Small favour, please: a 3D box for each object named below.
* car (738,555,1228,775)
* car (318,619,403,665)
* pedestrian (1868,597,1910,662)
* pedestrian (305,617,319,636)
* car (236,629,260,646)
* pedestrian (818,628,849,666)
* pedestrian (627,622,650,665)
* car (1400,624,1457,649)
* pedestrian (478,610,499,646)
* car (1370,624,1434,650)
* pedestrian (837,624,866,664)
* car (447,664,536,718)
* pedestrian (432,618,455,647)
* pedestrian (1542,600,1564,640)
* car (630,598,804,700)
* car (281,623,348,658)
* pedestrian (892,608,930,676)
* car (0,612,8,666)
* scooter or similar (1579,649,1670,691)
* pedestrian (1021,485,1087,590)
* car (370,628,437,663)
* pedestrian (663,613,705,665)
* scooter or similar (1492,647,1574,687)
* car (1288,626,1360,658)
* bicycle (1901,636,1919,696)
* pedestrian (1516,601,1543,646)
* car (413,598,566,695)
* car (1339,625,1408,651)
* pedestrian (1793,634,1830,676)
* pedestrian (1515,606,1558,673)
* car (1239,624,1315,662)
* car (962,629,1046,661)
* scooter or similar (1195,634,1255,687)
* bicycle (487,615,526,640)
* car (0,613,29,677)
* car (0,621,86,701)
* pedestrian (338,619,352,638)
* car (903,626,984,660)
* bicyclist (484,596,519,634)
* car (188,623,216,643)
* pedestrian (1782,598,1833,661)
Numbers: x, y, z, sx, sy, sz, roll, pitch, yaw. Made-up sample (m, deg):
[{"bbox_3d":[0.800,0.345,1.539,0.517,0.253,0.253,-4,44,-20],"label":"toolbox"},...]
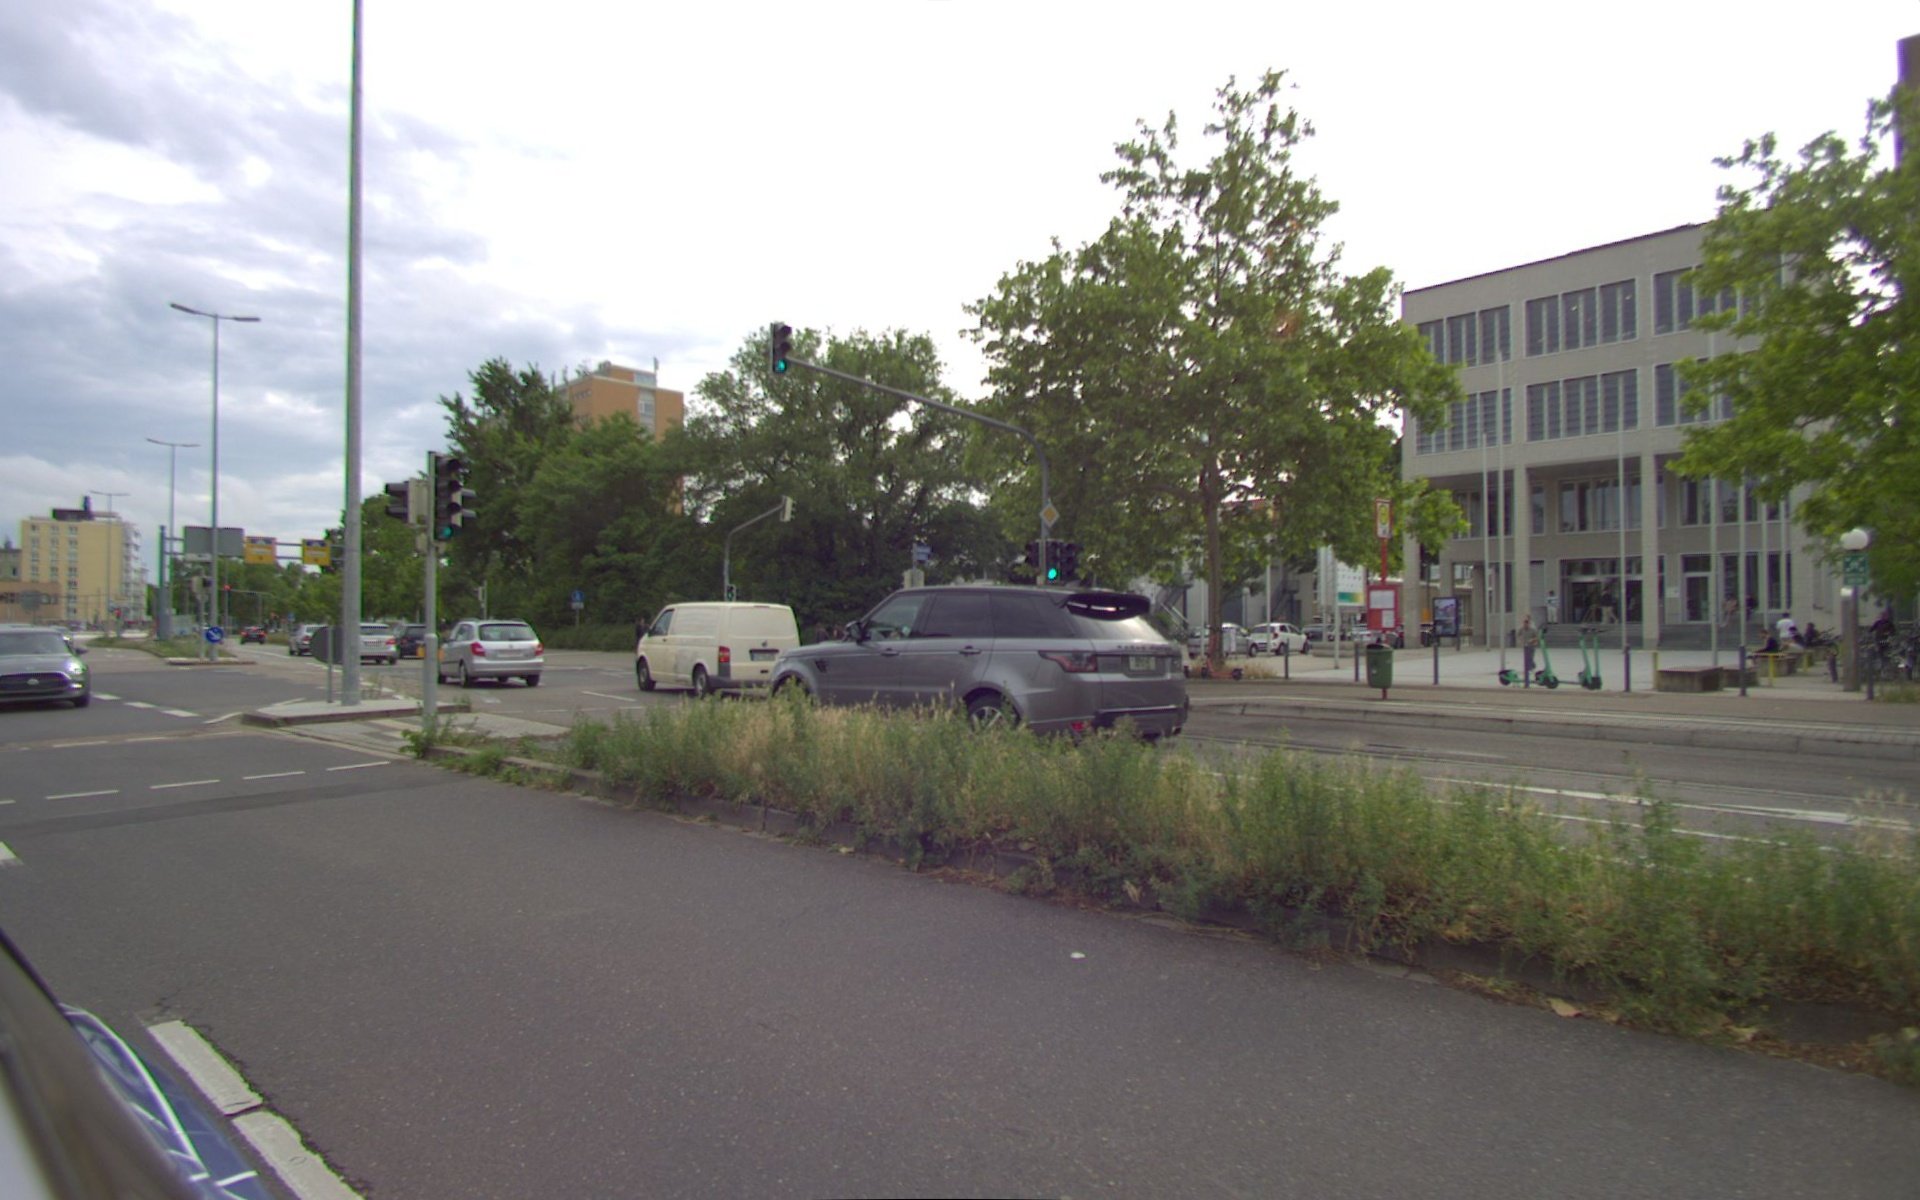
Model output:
[{"bbox_3d":[-0.016,0.556,10.273,4.949,1.700,1.971,-2,-1,45],"label":"car"},{"bbox_3d":[-22.471,1.566,37.860,1.933,1.596,4.261,-1,-2,-42],"label":"car"},{"bbox_3d":[29.444,0.935,32.082,0.883,2.029,0.797,2,-2,-37],"label":"pedestrian"},{"bbox_3d":[-69.890,2.895,109.148,1.221,2.029,0.870,-2,-1,42],"label":"pedestrian"},{"bbox_3d":[-68.971,3.581,98.081,1.825,1.564,4.010,0,-1,-34],"label":"car"},{"bbox_3d":[-4.885,1.805,39.122,0.992,1.439,0.696,-2,-1,18],"label":"pedestrian"},{"bbox_3d":[-13.167,1.788,41.433,0.582,1.708,0.653,7,-6,-41],"label":"pedestrian"},{"bbox_3d":[28.183,2.193,60.866,3.628,1.467,1.960,2,-2,-44],"label":"car"},{"bbox_3d":[-28.519,1.686,61.181,0.895,2.029,0.824,-4,-3,-36],"label":"pedestrian"},{"bbox_3d":[25.091,2.091,57.428,3.843,1.407,1.997,2,-3,-44],"label":"car"},{"bbox_3d":[-4.251,1.727,39.658,0.811,1.525,0.978,1,-2,-31],"label":"pedestrian"},{"bbox_3d":[-16.439,3.129,35.401,1.968,1.632,4.008,1,-2,-38],"label":"car"},{"bbox_3d":[-29.982,1.856,58.764,0.976,1.637,0.814,-1,-1,-43],"label":"pedestrian"},{"bbox_3d":[30.641,1.048,52.324,0.944,2.029,0.787,-1,-2,29],"label":"pedestrian"},{"bbox_3d":[-5.150,0.948,21.004,1.749,1.862,4.497,-1,-1,-39],"label":"car"},{"bbox_3d":[-30.042,1.856,47.067,1.969,1.541,4.279,2,-2,-41],"label":"car"},{"bbox_3d":[-1.540,1.318,31.768,0.851,2.074,0.660,-5,-3,35],"label":"pedestrian"},{"bbox_3d":[-27.195,1.070,27.481,1.706,1.470,4.006,2,-2,-40],"label":"car"},{"bbox_3d":[11.891,1.244,18.138,0.402,0.699,1.291,-1,-1,-41],"label":"scooter or similar"},{"bbox_3d":[1.932,-1.250,20.814,1.010,2.029,0.884,-2,-3,44],"label":"pedestrian"},{"bbox_3d":[-24.776,1.997,45.032,1.829,1.475,3.702,2,-2,-41],"label":"car"},{"bbox_3d":[-11.232,1.577,41.223,1.136,2.029,1.174,-2,-1,26],"label":"pedestrian"},{"bbox_3d":[11.028,1.276,19.497,0.402,0.699,1.291,-1,-1,-41],"label":"scooter or similar"},{"bbox_3d":[18.331,2.107,50.887,3.940,1.565,1.890,2,-3,-44],"label":"car"},{"bbox_3d":[22.728,1.529,23.833,0.721,1.364,2.458,-2,-3,41],"label":"bicycle"},{"bbox_3d":[26.169,1.085,46.550,1.034,2.029,0.787,-1,-2,29],"label":"pedestrian"},{"bbox_3d":[-10.898,1.034,23.328,1.970,2.029,4.003,2,-3,-44],"label":"car"},{"bbox_3d":[22.150,2.025,54.170,3.940,1.371,2.009,2,-3,-44],"label":"car"},{"bbox_3d":[29.920,1.928,35.565,0.883,1.429,0.797,2,-2,-37],"label":"pedestrian"},{"bbox_3d":[17.765,1.219,31.194,1.092,2.029,0.787,-1,-2,29],"label":"pedestrian"},{"bbox_3d":[14.913,2.003,47.532,1.854,1.696,3.942,-2,-3,44],"label":"car"},{"bbox_3d":[2.196,2.202,50.318,3.940,1.401,2.002,-1,-1,-44],"label":"car"},{"bbox_3d":[5.962,1.349,22.819,0.356,1.149,1.320,2,-3,-44],"label":"scooter or similar"},{"bbox_3d":[-24.789,1.512,55.264,2.299,1.343,0.602,-2,-1,27],"label":"bicycle"},{"bbox_3d":[-32.175,1.472,33.364,1.969,2.029,4.006,2,-2,-40],"label":"car"},{"bbox_3d":[-16.950,1.060,18.347,1.601,1.328,3.711,2,-2,-40],"label":"car"},{"bbox_3d":[-63.819,2.955,104.955,1.120,1.933,1.165,-1,-1,-38],"label":"pedestrian"},{"bbox_3d":[-0.741,1.997,47.819,1.864,1.461,3.543,-2,-1,45],"label":"car"},{"bbox_3d":[-25.007,0.838,55.153,1.275,2.029,1.174,-2,-1,26],"label":"bicyclist"},{"bbox_3d":[-72.200,3.147,96.378,1.865,1.786,4.006,-1,0,-40],"label":"car"},{"bbox_3d":[27.890,0.971,33.318,0.782,2.029,0.992,1,-2,-16],"label":"pedestrian"}]
